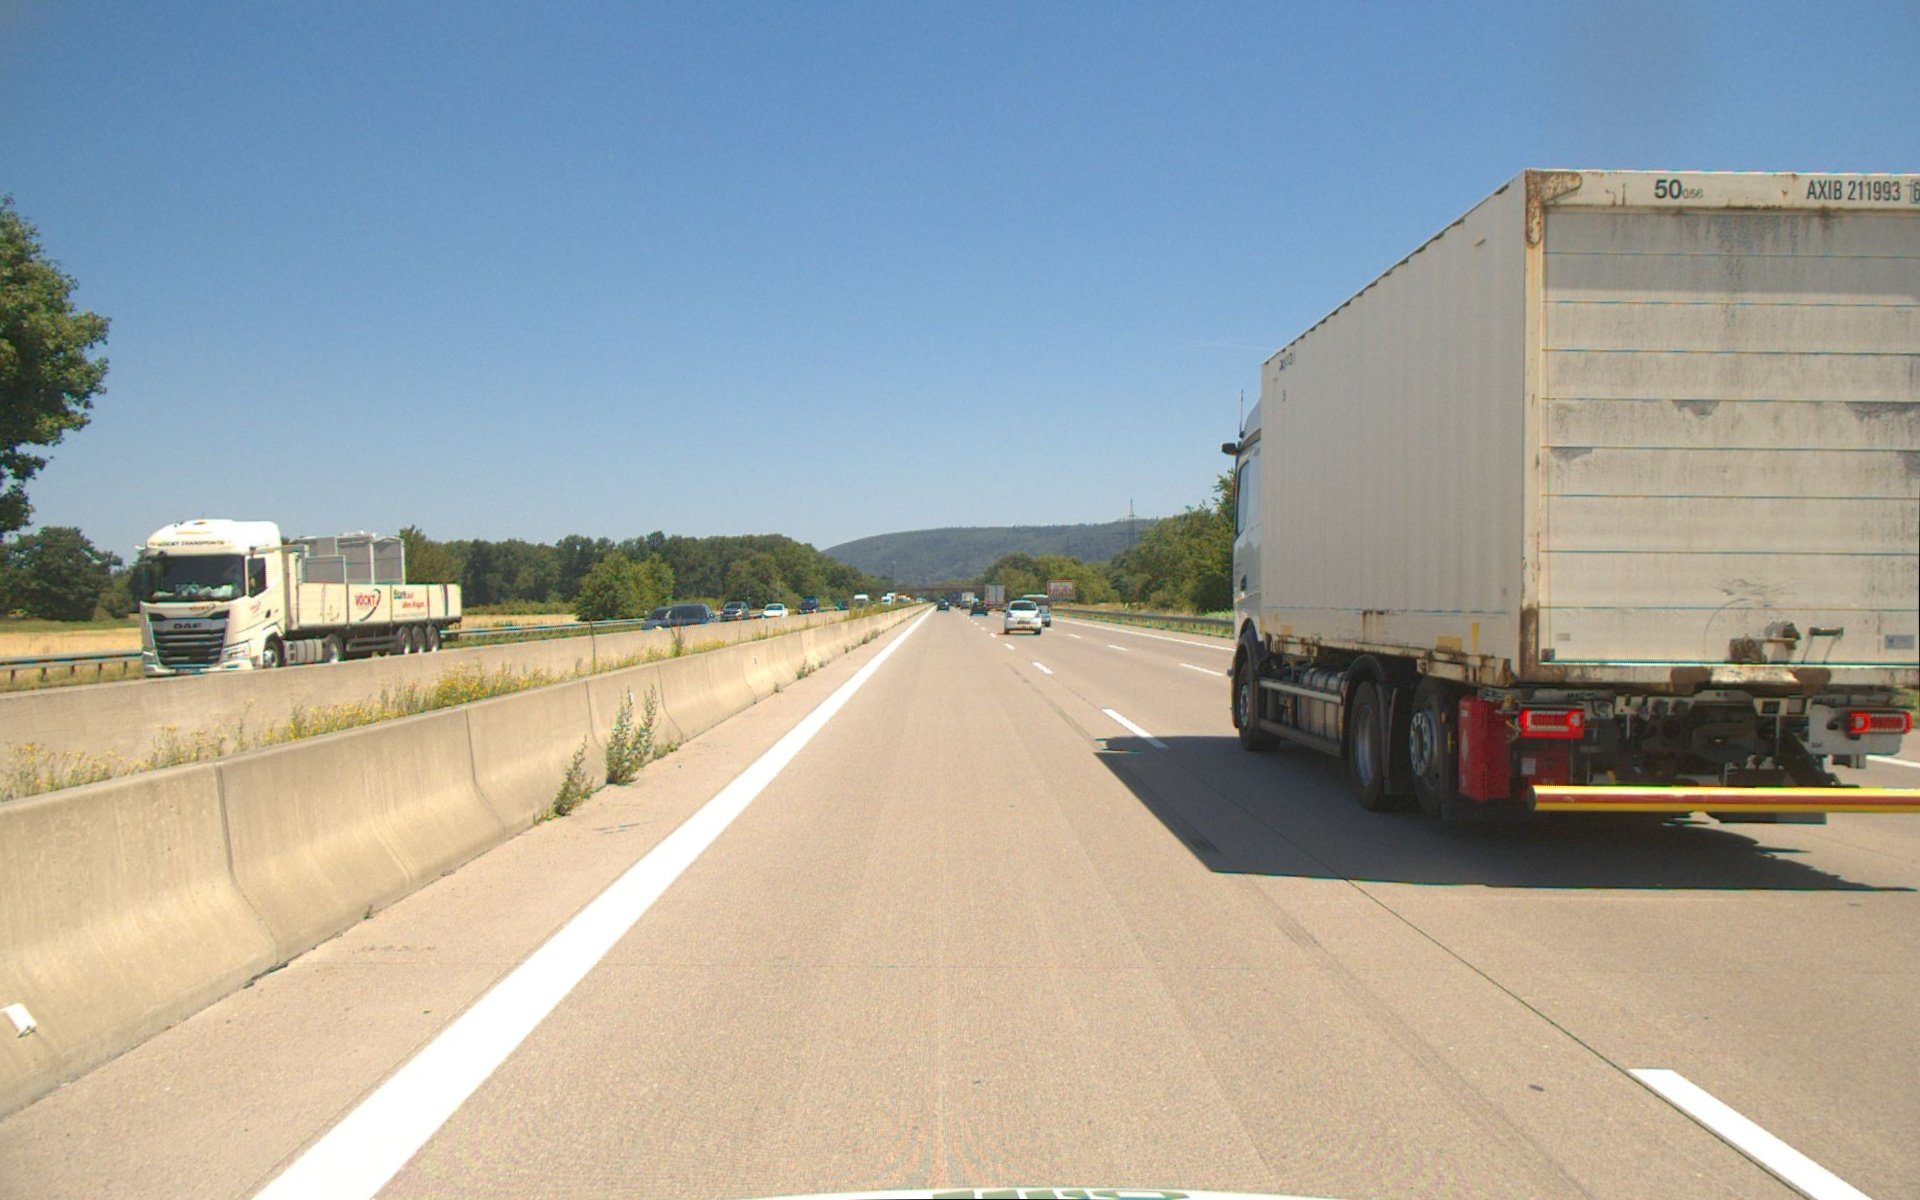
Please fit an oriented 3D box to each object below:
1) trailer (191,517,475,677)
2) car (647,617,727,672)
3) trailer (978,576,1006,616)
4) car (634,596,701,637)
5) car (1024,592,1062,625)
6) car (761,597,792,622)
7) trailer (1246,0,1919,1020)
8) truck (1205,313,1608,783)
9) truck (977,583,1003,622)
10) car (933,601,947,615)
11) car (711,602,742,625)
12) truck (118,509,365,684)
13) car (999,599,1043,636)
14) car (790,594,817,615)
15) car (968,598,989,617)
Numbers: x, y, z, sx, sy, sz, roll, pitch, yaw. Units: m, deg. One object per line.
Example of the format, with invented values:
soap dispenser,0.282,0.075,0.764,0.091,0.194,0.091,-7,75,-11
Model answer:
trailer,-16.883,-0.089,46.076,2.746,3.748,13.747,1,0,-1
car,-9.431,1.499,57.517,1.953,1.747,5.024,1,0,0
trailer,4.896,-0.583,254.036,3.646,5.913,12.156,1,0,-2
car,-13.050,0.700,74.096,1.923,1.747,5.127,1,0,2
car,5.025,0.502,100.637,1.953,1.881,3.999,1,0,-1
car,-13.736,0.760,124.164,1.954,1.747,4.610,1,-2,-3
trailer,4.261,-0.433,11.266,2.528,3.945,10.370,1,0,-1
truck,4.170,-0.440,16.541,2.529,3.945,4.982,1,0,-2
truck,4.632,0.392,260.915,3.646,5.913,7.050,1,0,-2
car,-2.805,1.089,231.604,1.890,1.825,3.999,1,0,-1
car,-18.510,1.060,131.161,1.953,1.747,4.299,1,0,-2
truck,-16.867,-0.080,39.464,2.746,3.752,7.235,1,0,-1
car,2.810,0.785,77.022,1.782,1.691,3.999,0,0,-1
car,-14.554,0.437,153.841,1.952,1.911,5.184,1,0,0
car,1.891,0.771,170.379,1.953,1.881,3.998,3,0,-2
